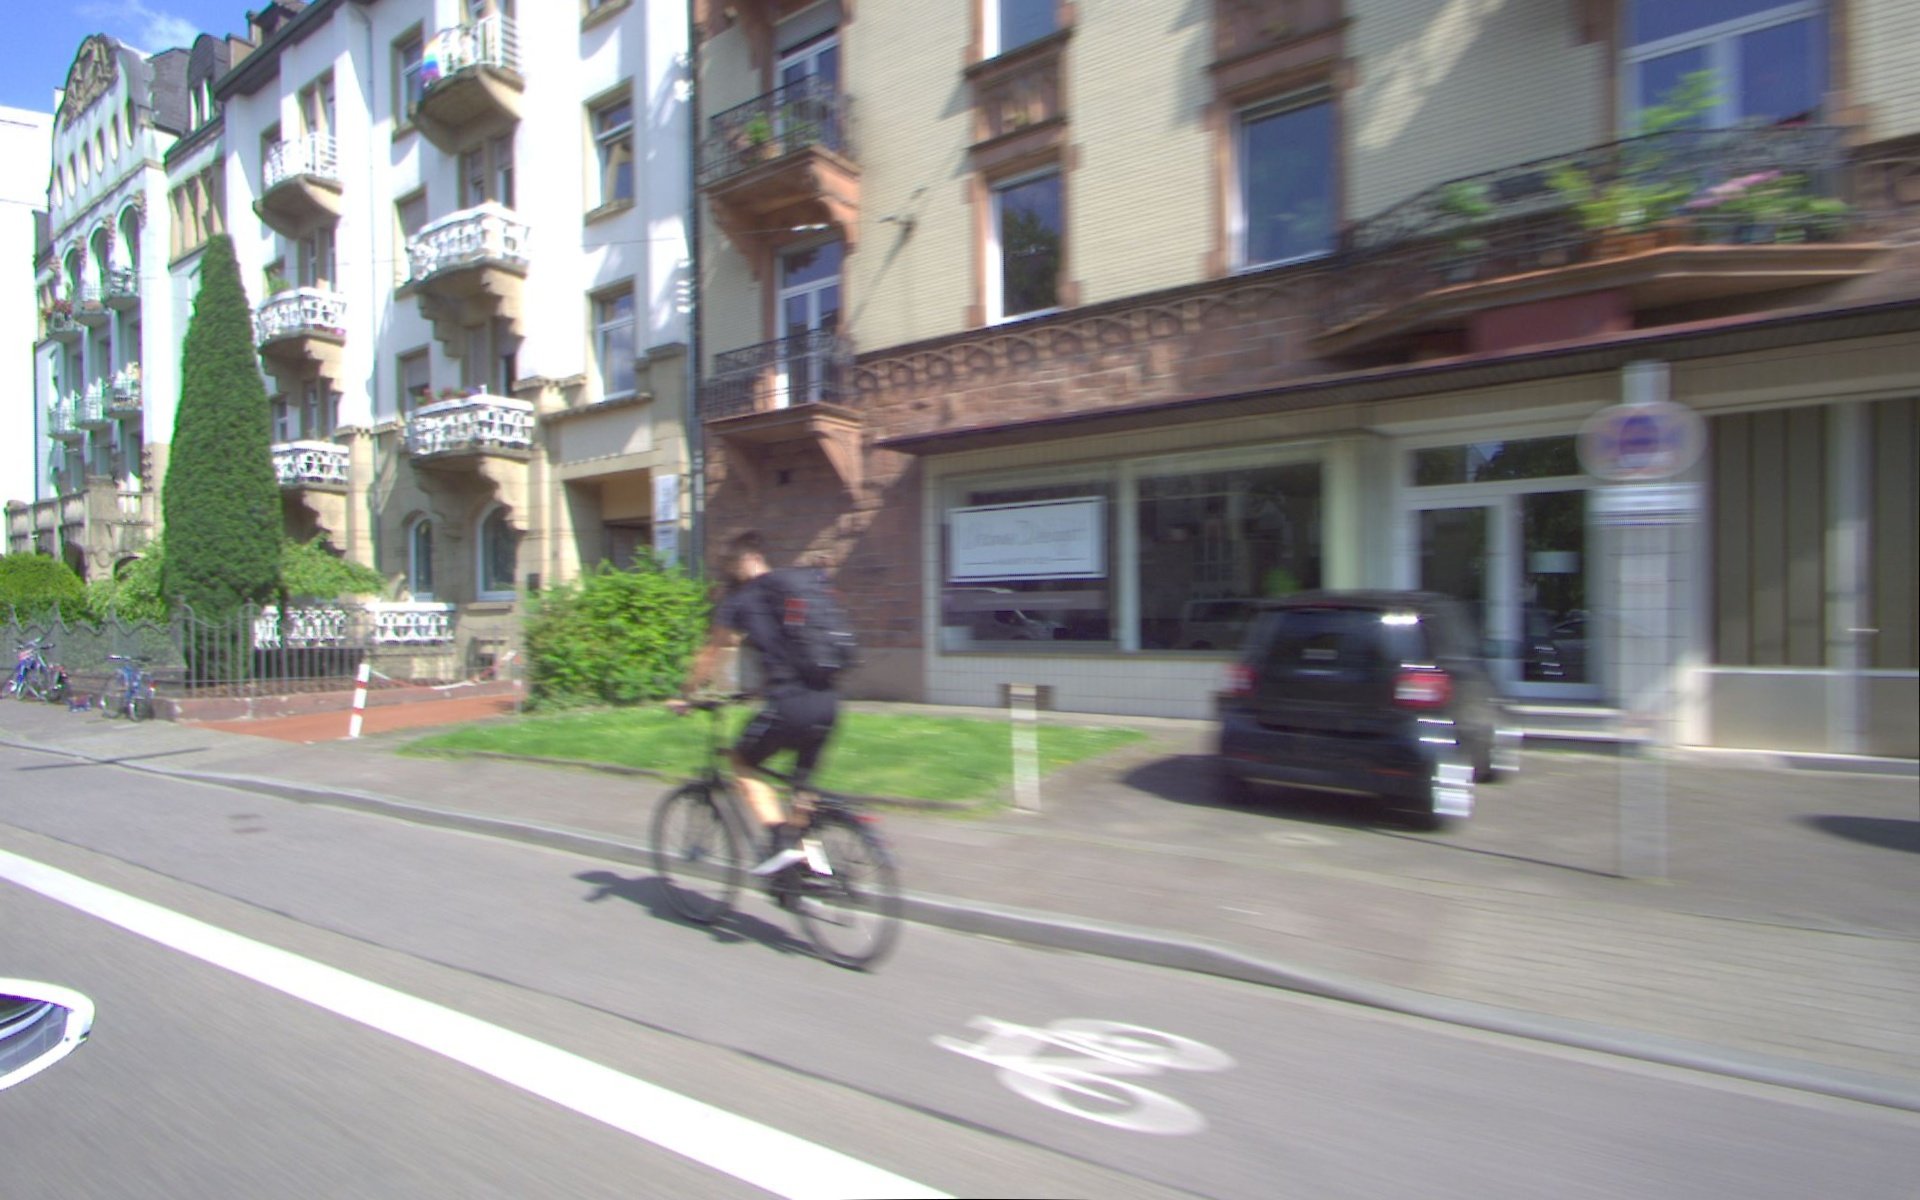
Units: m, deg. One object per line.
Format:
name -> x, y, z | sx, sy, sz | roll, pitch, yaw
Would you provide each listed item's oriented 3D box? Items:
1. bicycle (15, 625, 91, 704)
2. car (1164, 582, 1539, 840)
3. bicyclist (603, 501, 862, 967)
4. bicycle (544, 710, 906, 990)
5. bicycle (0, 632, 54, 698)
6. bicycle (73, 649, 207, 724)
bicycle -> -15.569, 1.076, 17.173 | 1.817, 1.278, 0.450 | 0, 2, 32
car -> 3.272, 0.665, 7.999 | 1.947, 1.544, 3.388 | -1, 1, 37
bicyclist -> -1.101, 0.588, 4.820 | 1.115, 1.972, 0.605 | -1, -2, 35
bicycle -> -1.190, 1.108, 4.868 | 1.812, 1.058, 0.613 | -4, 0, 35
bicycle -> -17.474, 1.190, 18.688 | 1.820, 1.138, 0.449 | 0, 2, 36
bicycle -> -12.447, 1.269, 15.161 | 3.022, 0.974, 0.597 | -1, 3, 32
